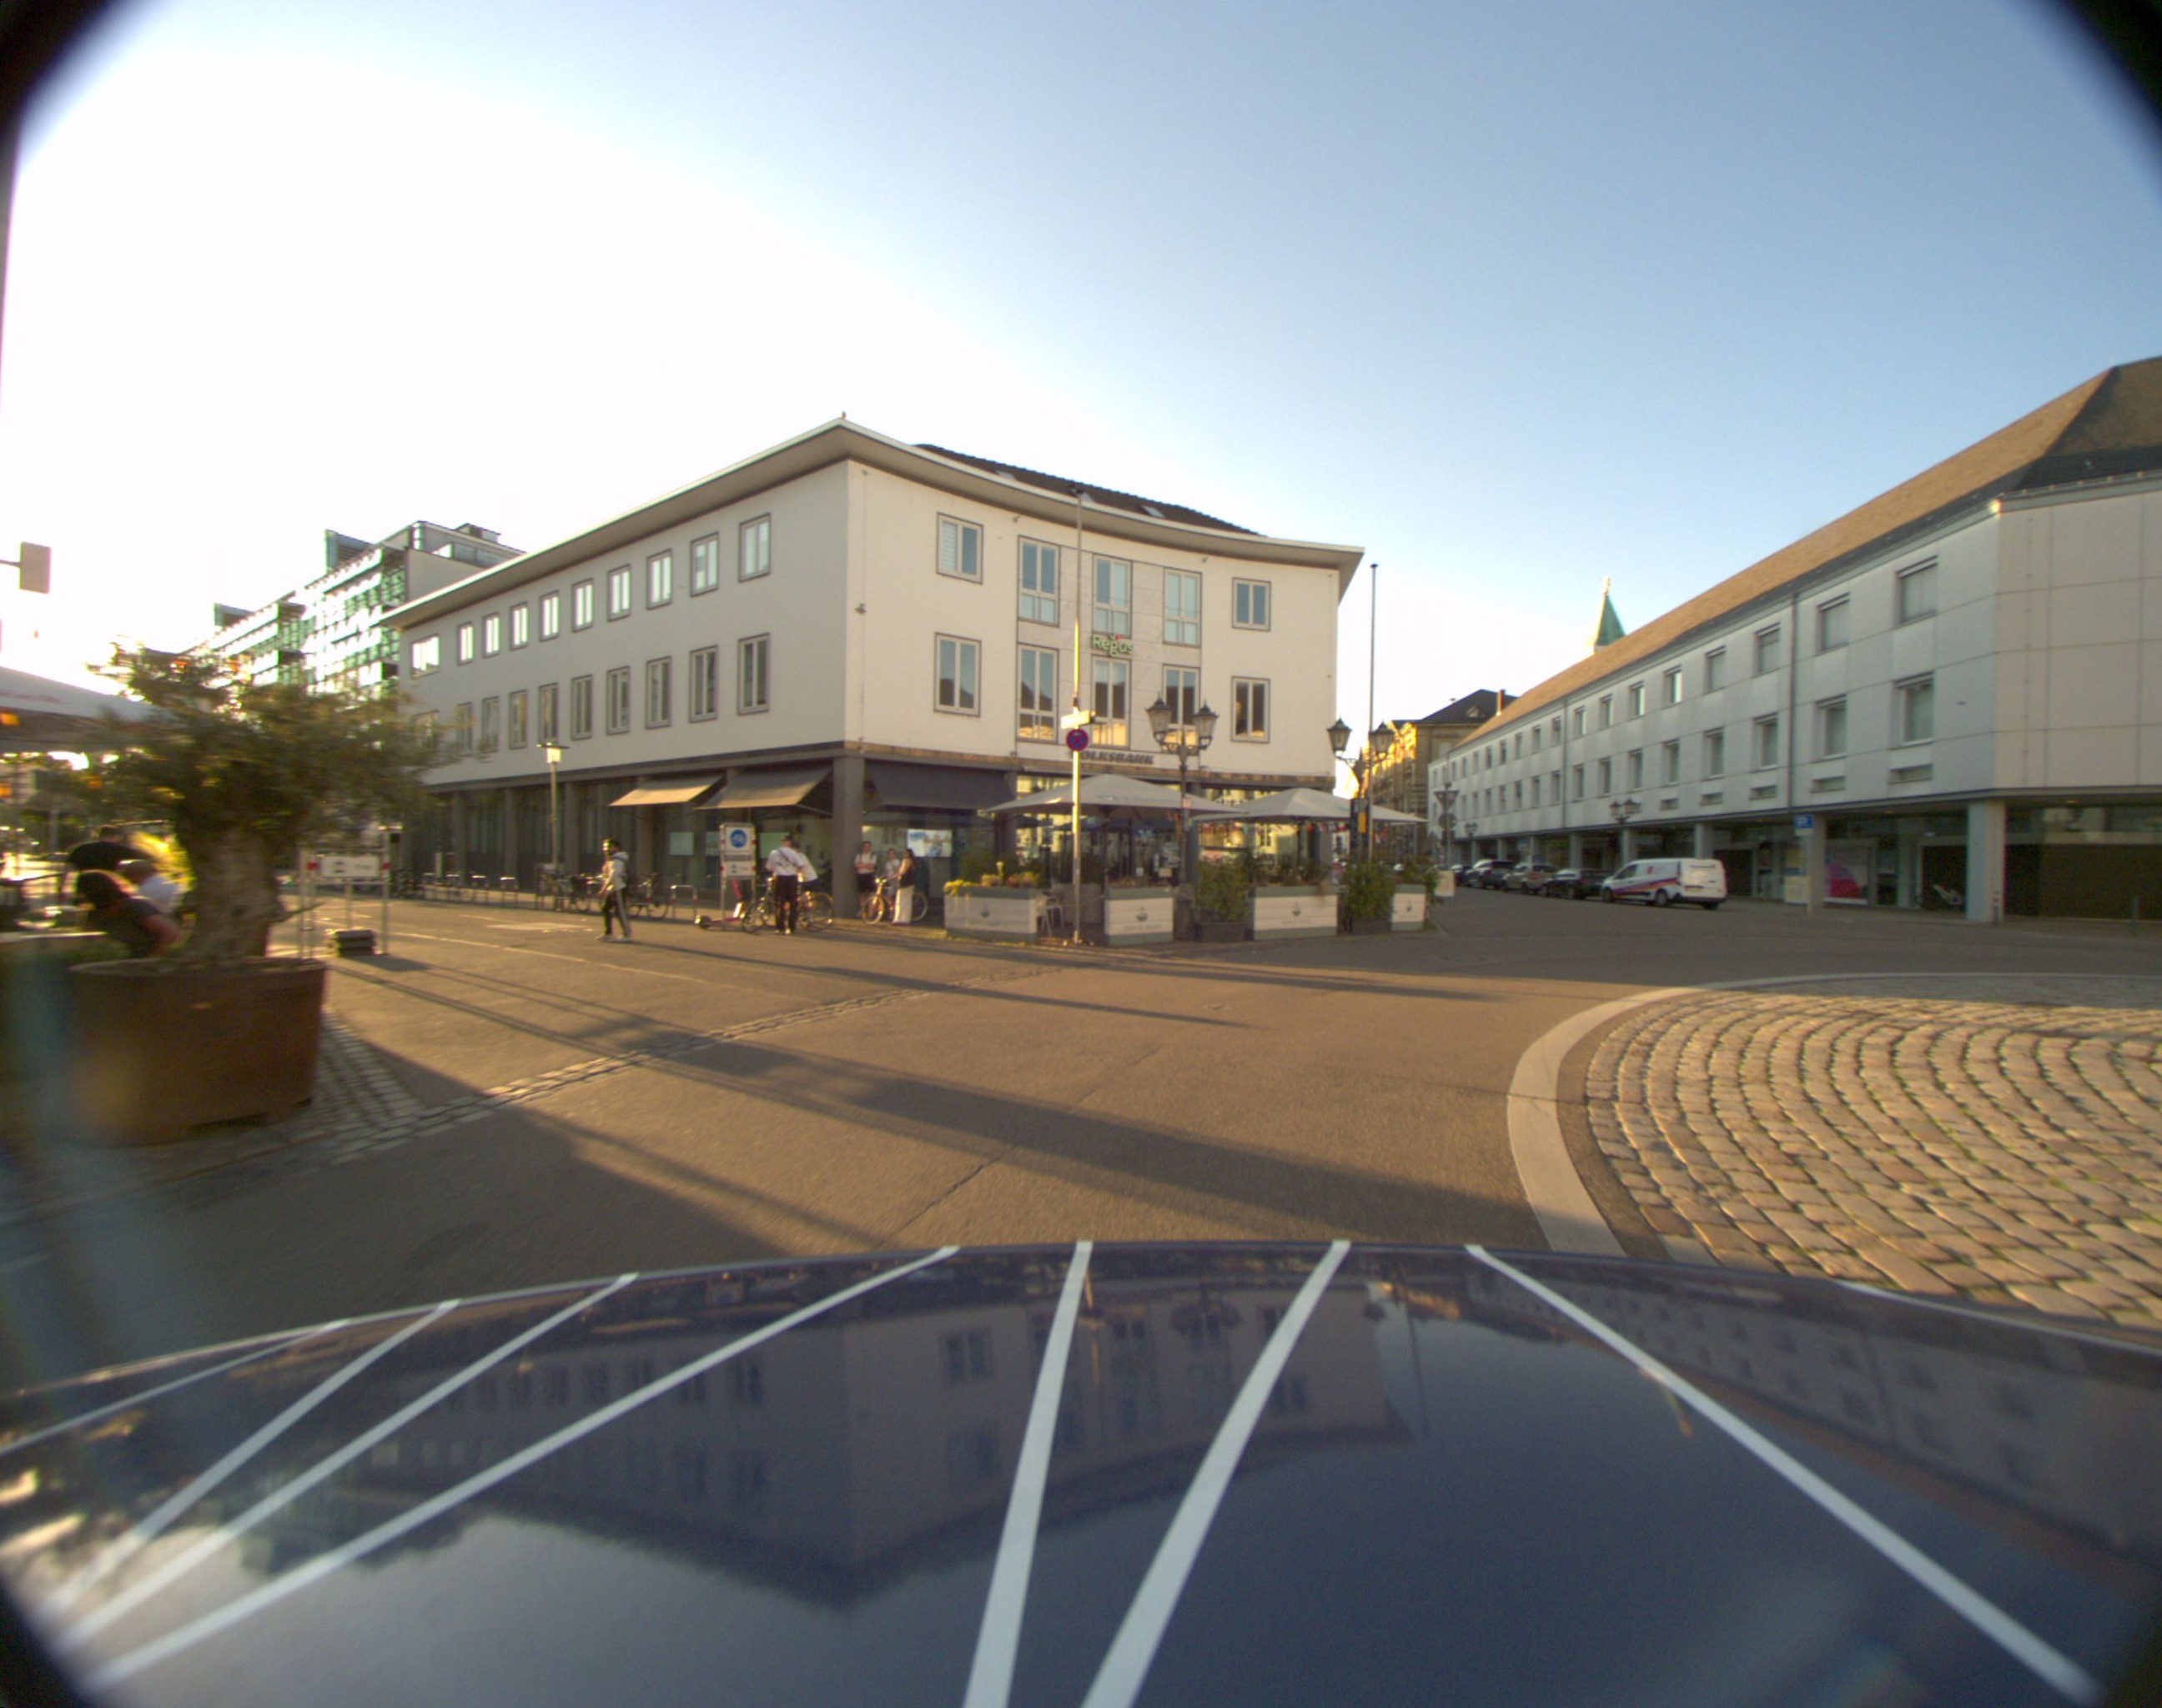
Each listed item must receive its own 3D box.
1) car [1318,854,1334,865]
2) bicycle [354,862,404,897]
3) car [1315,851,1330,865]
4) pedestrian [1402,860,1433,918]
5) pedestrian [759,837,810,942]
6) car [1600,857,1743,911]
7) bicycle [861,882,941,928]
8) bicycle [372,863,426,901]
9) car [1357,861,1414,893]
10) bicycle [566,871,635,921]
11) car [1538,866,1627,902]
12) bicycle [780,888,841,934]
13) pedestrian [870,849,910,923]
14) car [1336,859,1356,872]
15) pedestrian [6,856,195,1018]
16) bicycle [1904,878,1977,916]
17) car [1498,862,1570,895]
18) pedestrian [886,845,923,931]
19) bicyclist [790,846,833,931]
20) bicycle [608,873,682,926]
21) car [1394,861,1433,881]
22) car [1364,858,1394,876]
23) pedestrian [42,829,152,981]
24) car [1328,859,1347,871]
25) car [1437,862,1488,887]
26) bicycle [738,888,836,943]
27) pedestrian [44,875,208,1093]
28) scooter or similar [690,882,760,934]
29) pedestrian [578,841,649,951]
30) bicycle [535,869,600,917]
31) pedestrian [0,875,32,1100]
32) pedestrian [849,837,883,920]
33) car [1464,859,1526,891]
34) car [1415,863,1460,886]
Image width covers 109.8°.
[{"bbox_3d":[37.566,0.883,116.408,1.779,1.657,4.332,1,0,10],"label":"car"},{"bbox_3d":[-25.484,0.902,27.574,2.227,1.210,0.800,1,1,33],"label":"bicycle"},{"bbox_3d":[38.896,0.637,122.360,1.779,2.213,4.332,1,0,10],"label":"car"},{"bbox_3d":[10.075,1.047,22.765,0.603,1.691,0.714,1,1,5],"label":"pedestrian"},{"bbox_3d":[-5.589,0.648,14.335,0.643,1.917,0.629,1,1,34],"label":"pedestrian"},{"bbox_3d":[21.812,1.045,28.342,2.020,1.815,4.461,1,0,4],"label":"car"},{"bbox_3d":[-3.922,1.097,16.666,1.681,0.928,0.473,0,0,-43],"label":"bicycle"},{"bbox_3d":[-22.778,0.909,25.374,2.227,1.210,0.800,1,1,33],"label":"bicycle"},{"bbox_3d":[14.958,1.104,37.477,1.779,1.416,3.964,1,0,10],"label":"car"},{"bbox_3d":[-11.815,1.010,18.654,1.959,1.135,0.523,1,1,28],"label":"bicycle"},{"bbox_3d":[22.188,1.272,33.802,1.780,1.416,3.963,1,0,8],"label":"car"},{"bbox_3d":[-5.643,1.163,15.907,0.481,0.843,1.485,1,0,12],"label":"bicycle"},{"bbox_3d":[-4.402,0.715,17.521,0.619,1.667,0.734,1,1,12],"label":"pedestrian"},{"bbox_3d":[34.187,1.477,98.082,1.779,1.657,4.332,1,0,10],"label":"car"},{"bbox_3d":[-9.581,0.747,7.449,0.969,1.439,0.947,1,0,26],"label":"pedestrian"},{"bbox_3d":[28.391,1.402,25.137,0.480,1.149,1.951,1,0,10],"label":"bicycle"},{"bbox_3d":[22.838,1.210,38.477,1.780,1.506,3.963,1,0,8],"label":"car"},{"bbox_3d":[-3.802,0.713,16.412,0.508,1.807,0.719,1,1,12],"label":"pedestrian"},{"bbox_3d":[-5.627,0.705,15.888,0.481,1.733,0.836,1,1,12],"label":"bicyclist"},{"bbox_3d":[-10.186,1.036,17.726,1.959,1.135,0.523,1,1,28],"label":"bicycle"},{"bbox_3d":[26.596,1.344,60.949,1.780,1.483,4.331,1,0,8],"label":"car"},{"bbox_3d":[28.897,1.194,73.825,1.780,1.657,4.331,1,0,8],"label":"car"},{"bbox_3d":[-11.866,0.583,9.187,0.718,1.737,0.708,0,1,-45],"label":"pedestrian"},{"bbox_3d":[35.148,1.479,104.118,1.779,1.657,4.332,1,0,10],"label":"car"},{"bbox_3d":[25.179,1.318,50.282,1.780,1.483,4.331,1,0,8],"label":"car"},{"bbox_3d":[-5.542,1.146,14.398,1.681,0.928,0.473,0,0,-43],"label":"bicycle"},{"bbox_3d":[-6.999,0.886,5.578,0.721,1.439,0.695,1,1,34],"label":"pedestrian"},{"bbox_3d":[-7.370,1.096,15.755,0.486,1.005,1.207,1,1,41],"label":"scooter or similar"},{"bbox_3d":[-7.692,0.667,12.556,0.936,1.731,0.919,0,1,-28],"label":"pedestrian"},{"bbox_3d":[-13.266,0.981,19.627,1.959,1.135,0.523,1,1,28],"label":"bicycle"},{"bbox_3d":[-7.490,0.872,4.871,0.721,1.439,0.867,1,1,34],"label":"pedestrian"},{"bbox_3d":[-5.061,0.562,17.885,0.580,1.912,0.543,1,1,12],"label":"pedestrian"},{"bbox_3d":[24.020,1.161,44.298,1.780,1.718,4.331,1,0,8],"label":"car"},{"bbox_3d":[25.885,1.453,55.283,1.780,1.483,4.331,1,0,8],"label":"car"}]
